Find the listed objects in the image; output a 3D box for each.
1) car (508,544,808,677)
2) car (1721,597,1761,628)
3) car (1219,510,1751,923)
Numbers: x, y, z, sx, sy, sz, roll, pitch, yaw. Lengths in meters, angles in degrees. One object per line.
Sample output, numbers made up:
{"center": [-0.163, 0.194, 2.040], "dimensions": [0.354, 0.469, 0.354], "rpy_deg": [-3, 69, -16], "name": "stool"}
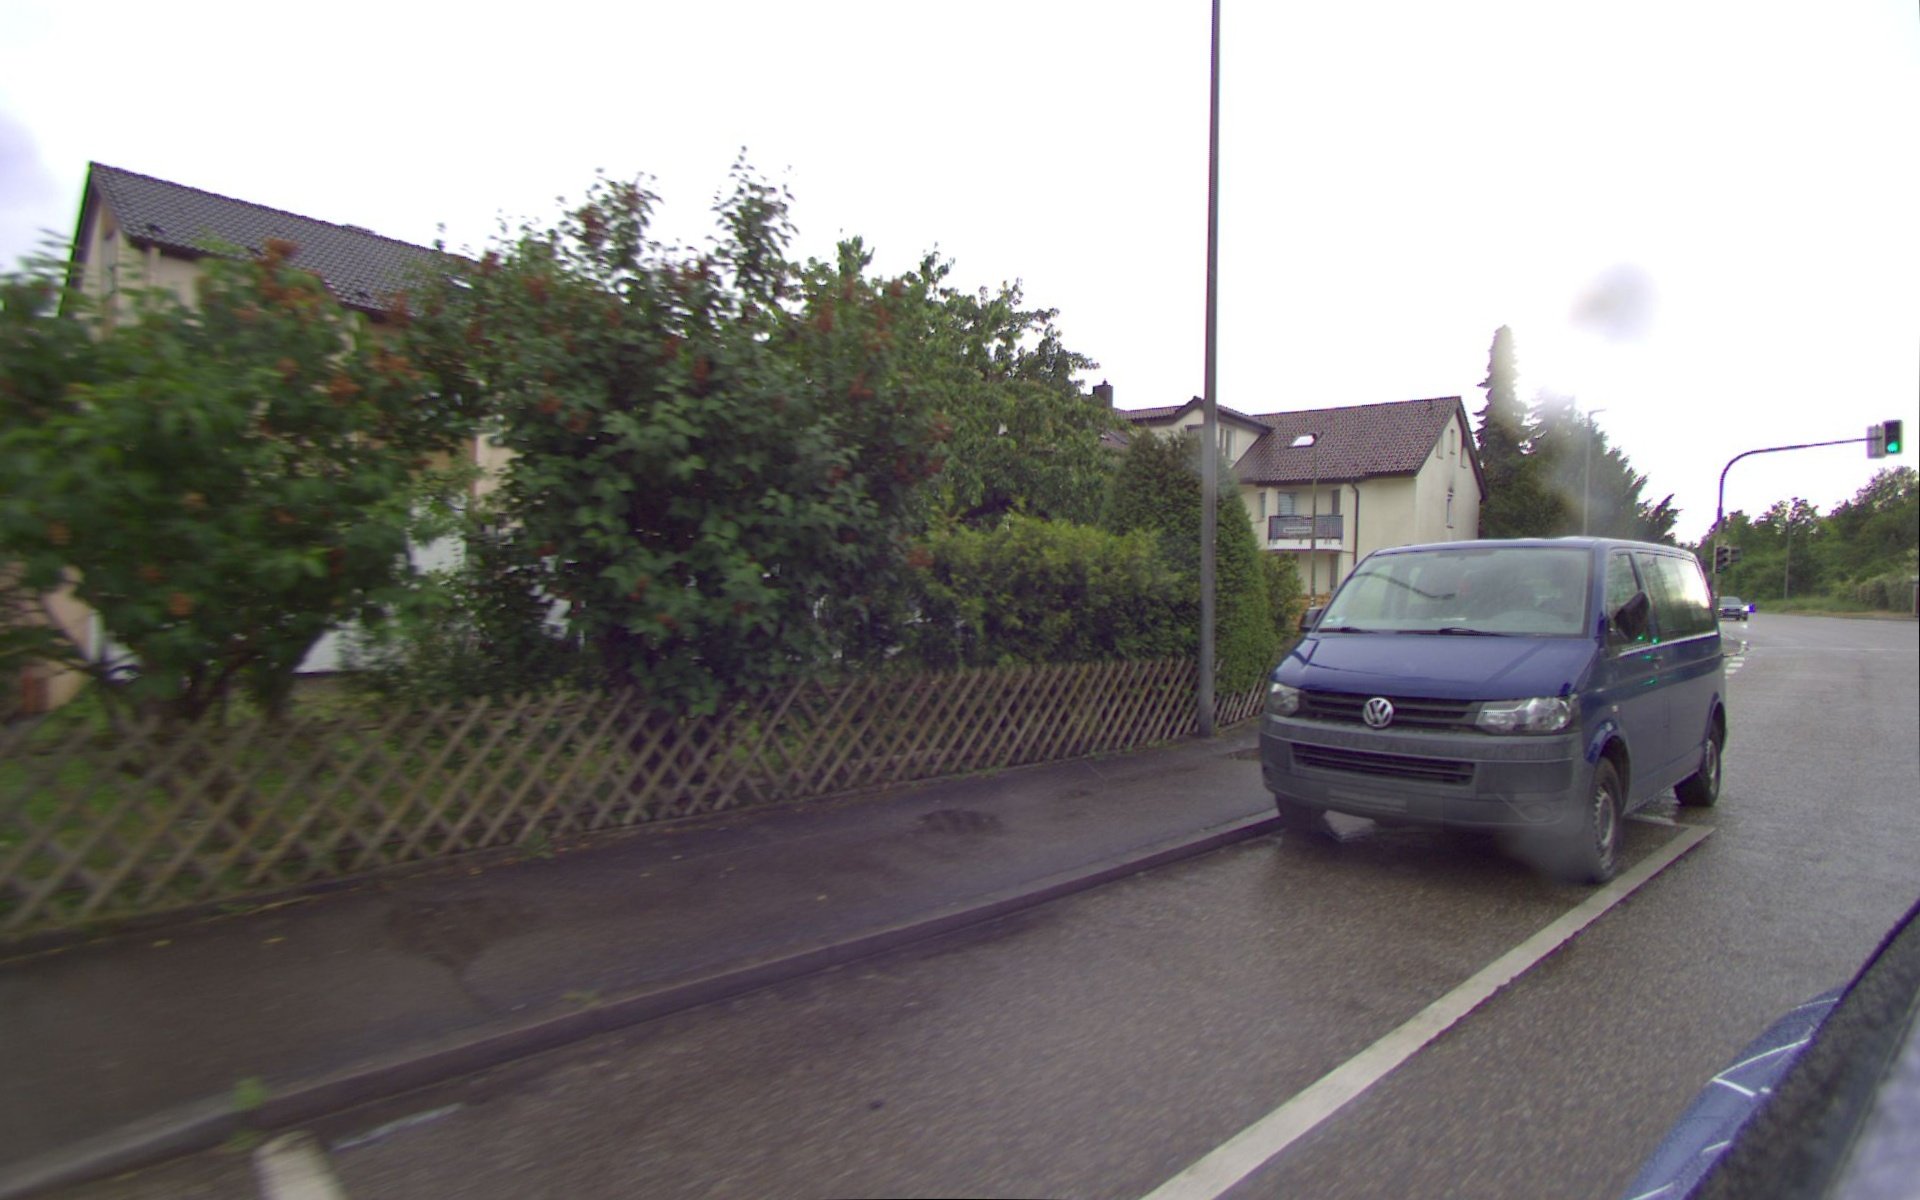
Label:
{"center": [-5.370, 0.171, 18.682], "dimensions": [1.942, 2.110, 5.111], "rpy_deg": [0, 0, 39], "name": "car"}
{"center": [50.405, 0.792, 65.349], "dimensions": [1.989, 1.865, 3.945], "rpy_deg": [2, 1, 38], "name": "car"}
{"center": [3.921, 0.529, 7.080], "dimensions": [4.714, 1.926, 1.932], "rpy_deg": [0, 0, -44], "name": "car"}
